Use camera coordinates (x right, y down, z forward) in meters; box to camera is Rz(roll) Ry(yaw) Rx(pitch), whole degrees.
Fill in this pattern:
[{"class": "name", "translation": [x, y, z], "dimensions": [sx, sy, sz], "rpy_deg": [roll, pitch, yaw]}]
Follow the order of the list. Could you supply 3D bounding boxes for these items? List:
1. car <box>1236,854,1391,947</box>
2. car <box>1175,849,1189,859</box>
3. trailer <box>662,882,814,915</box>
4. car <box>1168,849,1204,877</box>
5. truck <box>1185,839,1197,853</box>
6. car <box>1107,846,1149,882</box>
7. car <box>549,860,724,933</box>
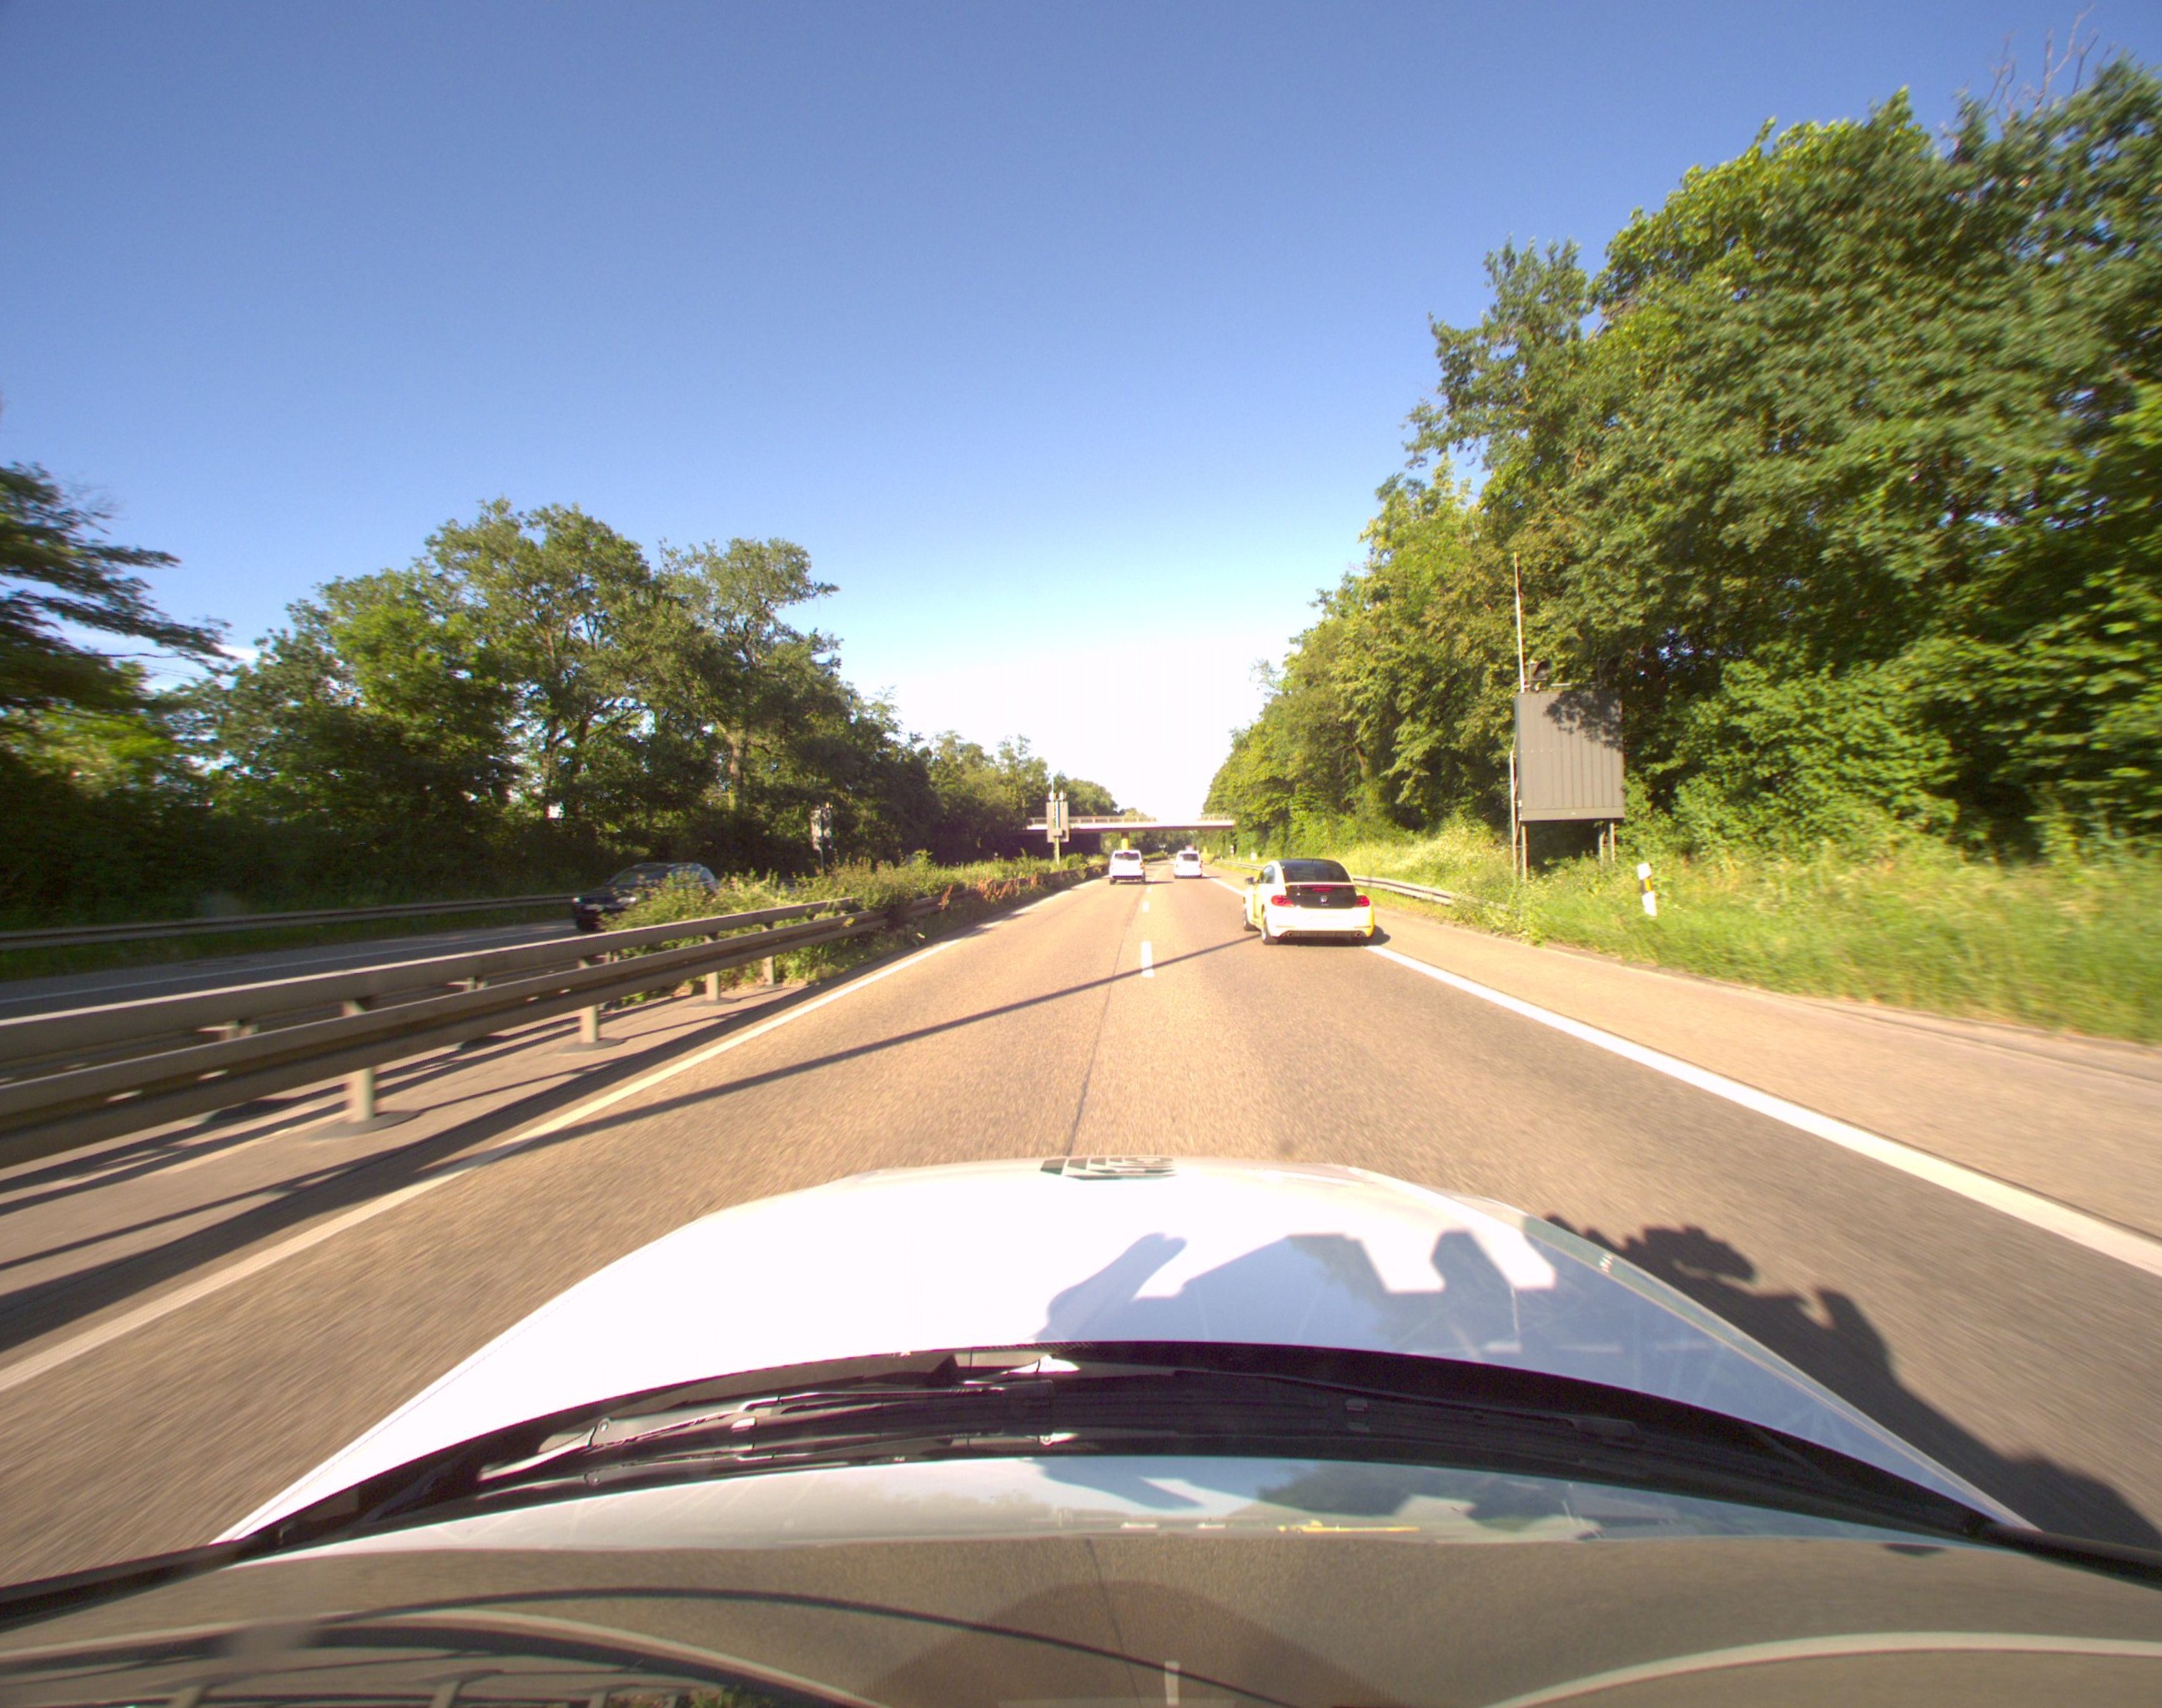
[{"class": "car", "translation": [4.108, 0.744, 15.107], "dimensions": [1.871, 1.461, 4.360], "rpy_deg": [-1, 0, 4]}, {"class": "car", "translation": [15.472, 0.024, 124.598], "dimensions": [1.982, 1.398, 4.009], "rpy_deg": [0, -1, 8]}, {"class": "trailer", "translation": [-11.458, 1.461, 27.904], "dimensions": [2.249, 0.740, 6.336], "rpy_deg": [-1, 0, 3]}, {"class": "car", "translation": [6.875, 0.568, 53.568], "dimensions": [1.857, 1.770, 4.471], "rpy_deg": [-1, 0, 1]}, {"class": "truck", "translation": [33.702, -2.369, 249.526], "dimensions": [3.476, 4.173, 8.881], "rpy_deg": [-1, 0, 8]}, {"class": "car", "translation": [2.530, 0.512, 43.257], "dimensions": [2.076, 1.828, 4.005], "rpy_deg": [1, 0, 4]}, {"class": "car", "translation": [-11.841, 1.050, 22.147], "dimensions": [1.953, 1.724, 4.747], "rpy_deg": [0, 0, 3]}]
